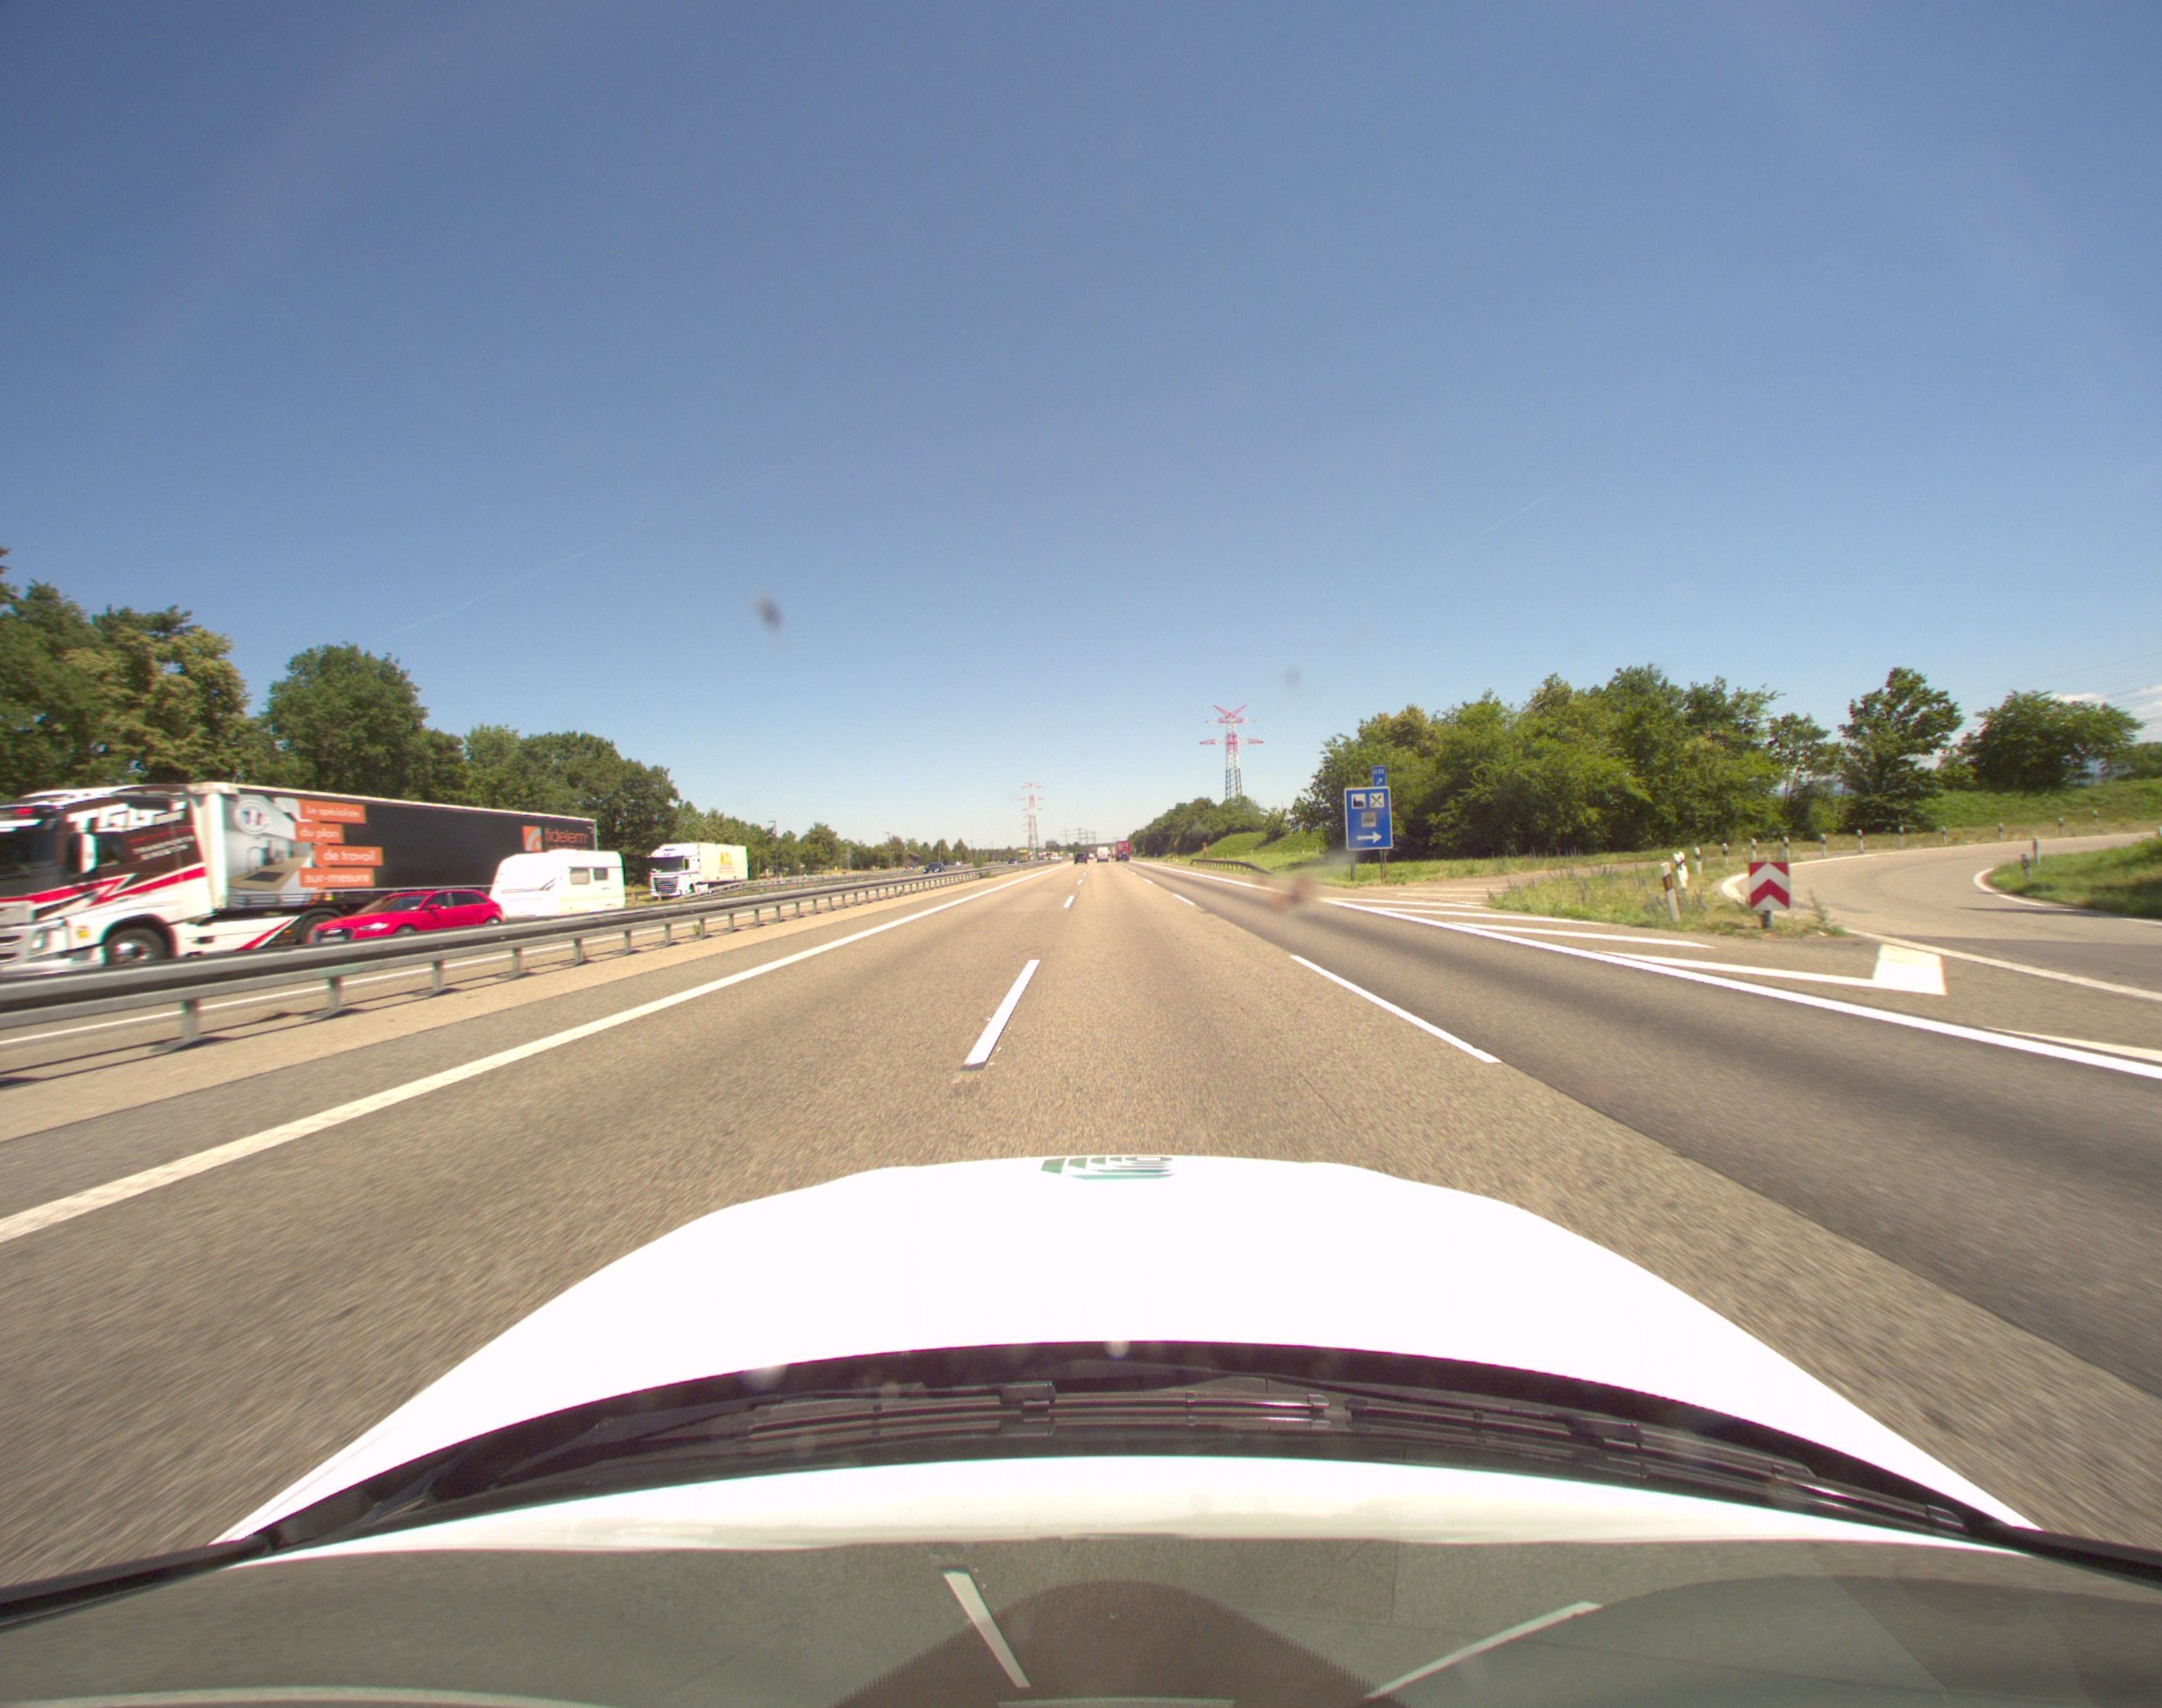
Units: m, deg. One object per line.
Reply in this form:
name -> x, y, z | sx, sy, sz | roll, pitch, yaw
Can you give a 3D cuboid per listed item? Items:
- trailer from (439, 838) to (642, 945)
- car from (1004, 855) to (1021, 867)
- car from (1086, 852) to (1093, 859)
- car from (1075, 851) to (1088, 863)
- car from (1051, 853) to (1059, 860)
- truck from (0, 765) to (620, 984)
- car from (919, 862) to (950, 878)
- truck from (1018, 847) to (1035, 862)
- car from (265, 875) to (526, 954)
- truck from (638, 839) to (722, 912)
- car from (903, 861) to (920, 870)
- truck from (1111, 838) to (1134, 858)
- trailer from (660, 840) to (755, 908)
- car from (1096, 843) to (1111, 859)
trailer -> -16.112, 1.002, 24.748 | 2.468, 2.747, 5.077 | -4, 0, 2
car -> -10.550, 1.070, 125.558 | 2.045, 1.551, 4.891 | -4, 0, 1
car -> 2.278, 0.388, 222.144 | 1.741, 1.634, 4.004 | -1, 0, 1
car -> 0.071, 0.447, 128.063 | 1.987, 1.750, 4.001 | -1, 0, 1
car -> -7.141, 0.760, 224.226 | 2.045, 1.842, 5.943 | -3, 0, 1
truck -> -20.092, 0.416, 23.587 | 3.314, 3.996, 16.872 | -3, 0, 1
car -> -15.271, 1.684, 85.051 | 2.220, 1.380, 4.891 | -4, 0, 1
truck -> -15.047, 0.207, 225.601 | 3.159, 3.810, 13.535 | -3, 0, 2
car -> -16.307, 1.349, 19.815 | 2.220, 1.380, 4.692 | -4, 0, 1
truck -> -29.926, 1.511, 61.222 | 3.070, 4.827, 7.693 | -5, 1, -8
car -> -32.401, 2.151, 156.113 | 2.045, 1.551, 4.891 | -4, 0, 1
truck -> 8.530, -1.175, 168.860 | 4.315, 3.941, 16.083 | -1, 0, 2
trailer -> -30.924, 1.517, 68.256 | 3.070, 4.827, 13.726 | -5, 1, -8
car -> 3.978, -0.556, 147.001 | 2.612, 2.759, 6.098 | -1, 0, 1
